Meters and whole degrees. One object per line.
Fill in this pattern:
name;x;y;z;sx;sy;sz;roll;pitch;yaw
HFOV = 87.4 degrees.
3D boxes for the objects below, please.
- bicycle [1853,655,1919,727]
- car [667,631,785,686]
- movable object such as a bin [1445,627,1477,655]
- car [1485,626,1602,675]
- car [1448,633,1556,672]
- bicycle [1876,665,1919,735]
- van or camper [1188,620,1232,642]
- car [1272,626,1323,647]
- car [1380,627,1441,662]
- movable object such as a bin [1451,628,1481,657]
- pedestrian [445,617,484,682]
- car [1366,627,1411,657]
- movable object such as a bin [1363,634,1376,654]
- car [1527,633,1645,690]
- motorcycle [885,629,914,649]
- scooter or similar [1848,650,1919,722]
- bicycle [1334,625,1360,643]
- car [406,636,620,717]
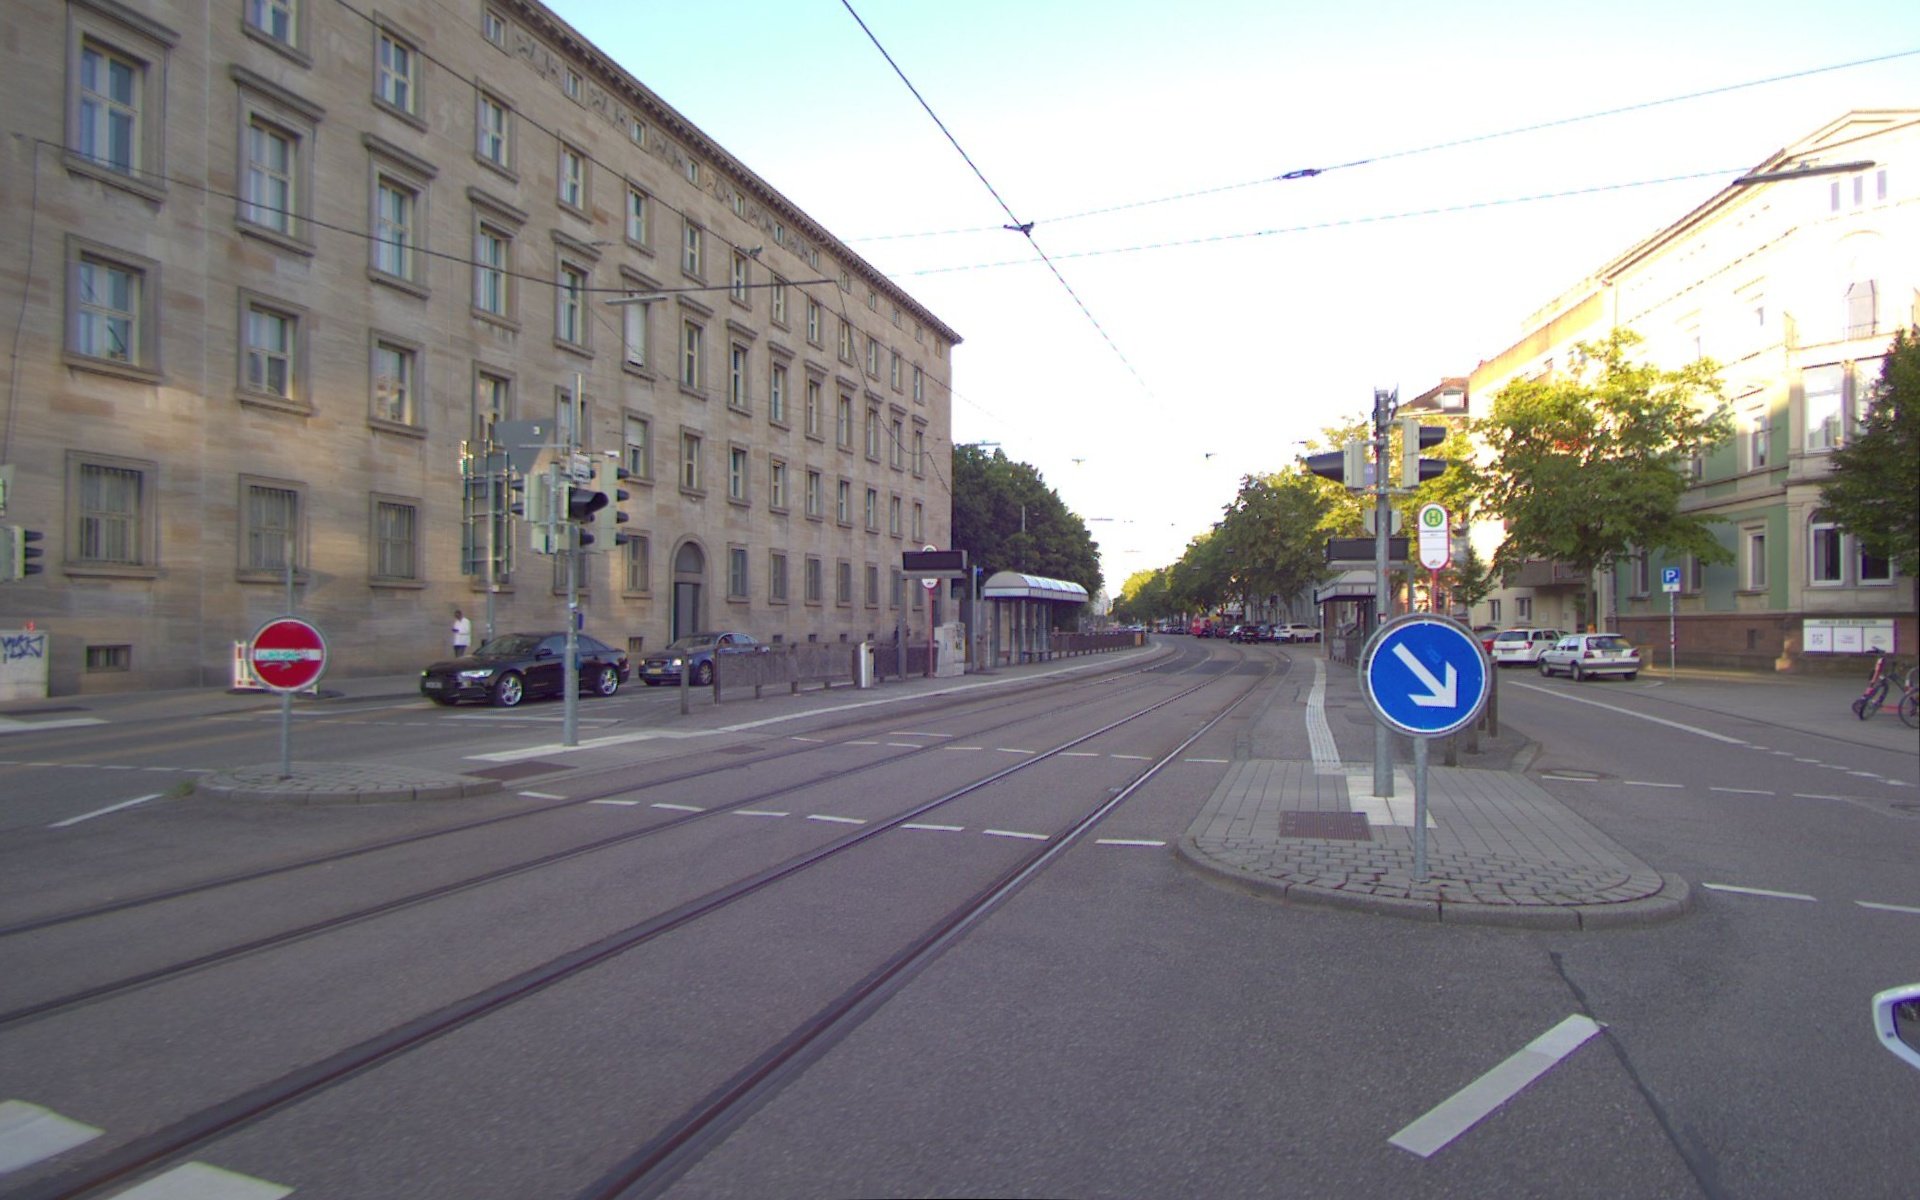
bicycle;16.301;1.546;17.085;1.501;1.178;0.744;0;-1;22
car;-6.770;1.663;29.471;1.615;1.446;3.705;0;-1;20
movable object such as a bin;28.343;2.293;56.875;1.121;1.522;1.599;1;-1;6
car;22.008;1.889;37.871;4.152;1.748;1.711;1;0;-25
car;21.860;2.106;40.501;4.150;1.473;1.636;1;-1;-23
bicycle;15.940;1.624;16.226;1.526;1.089;0.744;0;-1;22
van or camper;32.637;4.029;131.042;5.479;2.563;2.072;-2;-2;-28
car;27.848;2.976;82.829;3.899;1.648;1.664;-1;-1;-24
car;22.385;2.186;50.052;1.714;1.653;4.091;-2;-2;9
movable object such as a bin;27.573;2.298;54.755;1.054;1.522;1.320;1;-1;5
pedestrian;-13.432;1.326;27.243;0.684;1.732;0.646;0;-1;23
car;23.707;2.313;55.678;1.538;1.556;3.695;-2;-2;11
movable object such as a bin;24.664;2.670;60.464;0.700;1.169;0.588;1;-1;19
car;19.508;1.872;31.515;1.651;1.573;4.003;-3;-2;9
motorcycle;-3.411;2.179;56.899;0.687;1.089;2.654;0;-1;20
scooter or similar;16.909;1.541;18.107;1.180;1.241;0.591;-2;-2;21
bicycle;27.354;2.396;70.963;1.894;1.283;0.597;1;-1;-28
car;-9.219;1.517;21.113;1.615;1.446;4.232;0;-1;20
